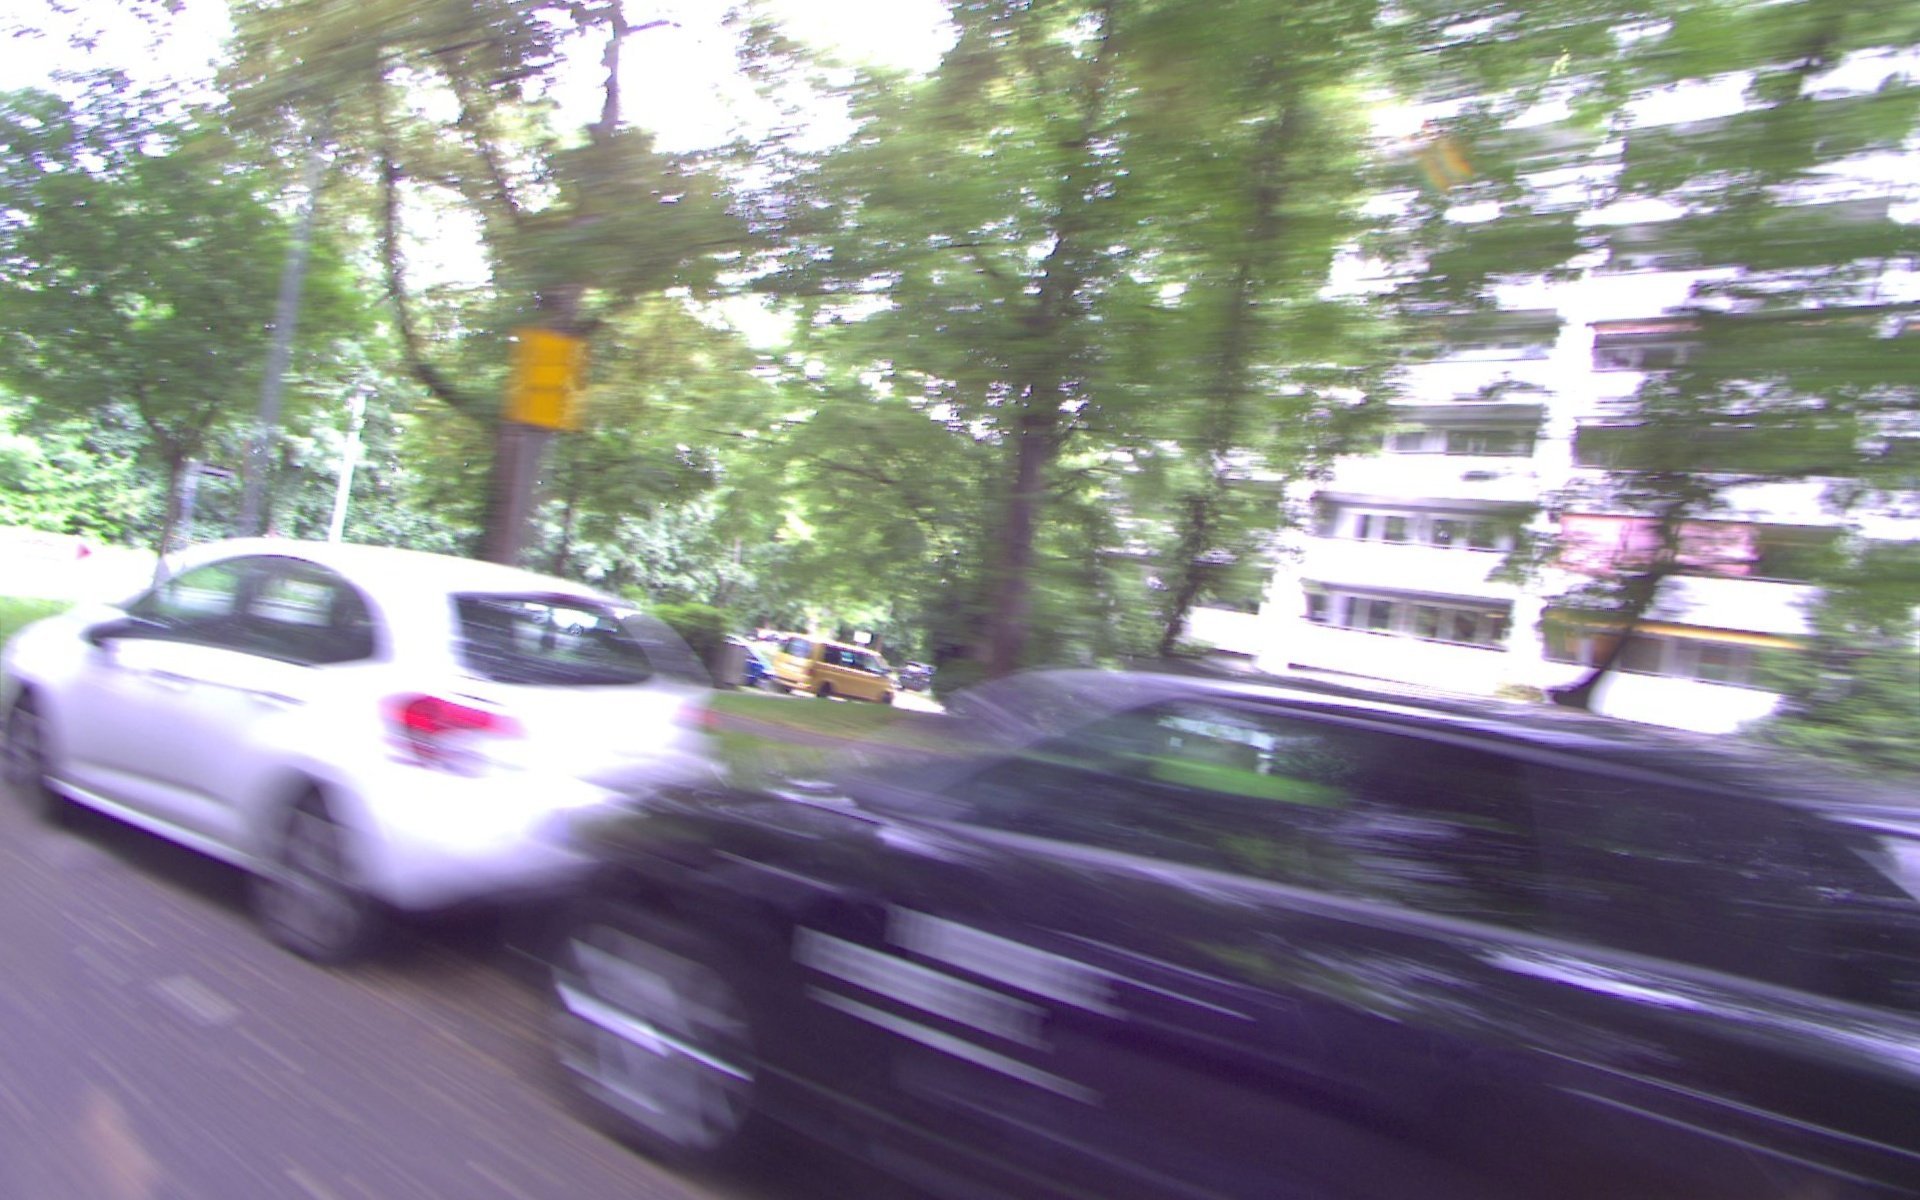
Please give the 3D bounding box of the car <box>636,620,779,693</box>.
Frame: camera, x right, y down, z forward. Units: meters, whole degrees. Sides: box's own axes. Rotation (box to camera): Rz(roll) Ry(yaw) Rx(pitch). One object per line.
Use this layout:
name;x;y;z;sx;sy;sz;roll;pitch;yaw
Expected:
car;-7.344;1.673;29.444;1.808;1.587;3.515;7;-4;43

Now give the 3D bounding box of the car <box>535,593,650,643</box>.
car;-15.585;0.781;42.821;1.772;1.515;4.212;6;-3;35

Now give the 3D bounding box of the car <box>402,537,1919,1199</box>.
car;0.547;0.862;2.790;4.115;1.539;1.778;6;-3;33

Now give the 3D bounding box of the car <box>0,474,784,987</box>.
car;-2.998;0.412;4.973;3.714;1.539;1.780;7;-3;27

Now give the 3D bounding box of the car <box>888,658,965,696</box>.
car;-1.704;4.086;52.870;1.772;1.515;4.212;6;-3;35

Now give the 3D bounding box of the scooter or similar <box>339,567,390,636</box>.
scooter or similar;-12.221;0.025;20.645;1.090;1.301;0.283;7;-2;33

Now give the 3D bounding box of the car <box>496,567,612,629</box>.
car;-17.912;-0.051;44.545;1.969;2.036;4.212;6;-3;35

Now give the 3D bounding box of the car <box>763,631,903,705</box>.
car;-4.114;2.287;33.311;1.805;1.868;4.400;7;-4;39

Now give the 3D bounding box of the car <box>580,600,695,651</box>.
car;-13.313;1.101;41.784;1.772;1.515;4.212;6;-3;35
